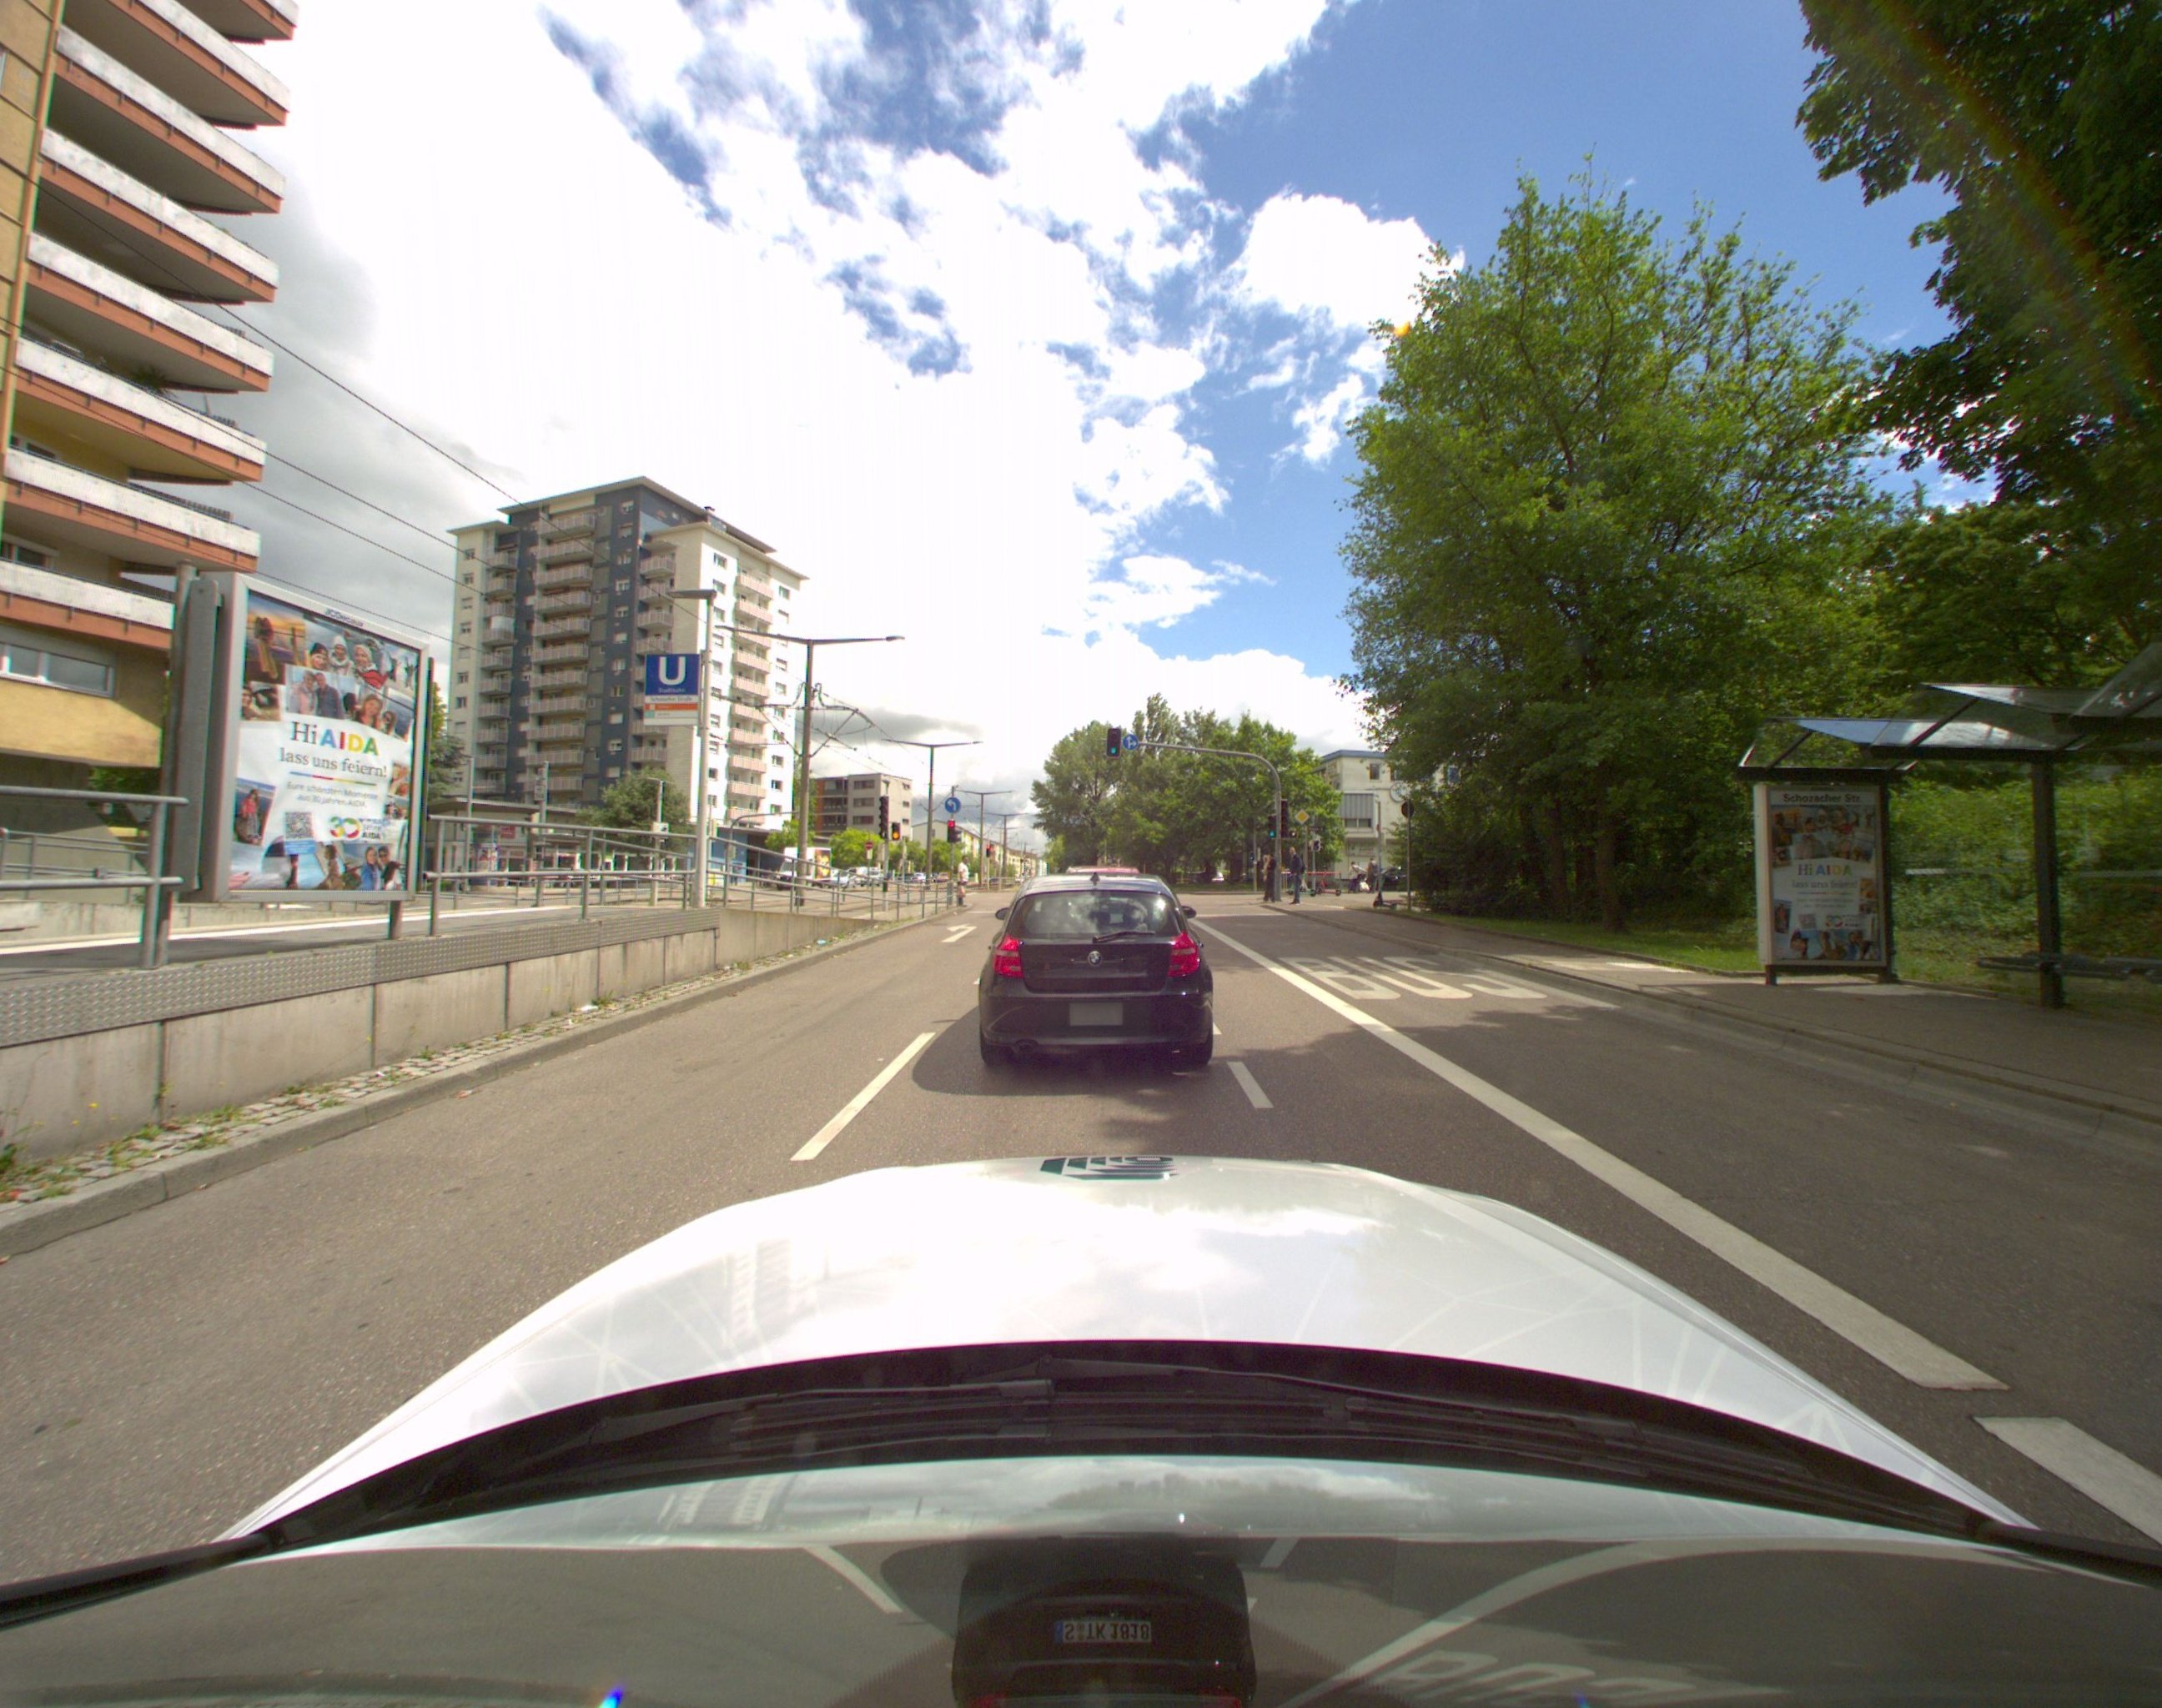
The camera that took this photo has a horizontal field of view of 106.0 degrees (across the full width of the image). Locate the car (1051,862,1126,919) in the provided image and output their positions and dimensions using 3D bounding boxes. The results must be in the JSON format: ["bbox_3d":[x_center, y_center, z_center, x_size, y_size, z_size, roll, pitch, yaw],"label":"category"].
[{"bbox_3d":[0.264,0.938,22.689,1.893,1.422,4.540,0,-1,2],"label":"car"}]

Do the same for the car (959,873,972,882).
[{"bbox_3d":[-20.016,4.004,141.388,1.646,1.534,3.871,0,-1,0],"label":"car"}]

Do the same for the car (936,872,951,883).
[{"bbox_3d":[-20.332,3.427,120.623,1.646,1.534,3.871,0,-1,0],"label":"car"}]

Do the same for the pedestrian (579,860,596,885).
[{"bbox_3d":[-39.577,1.468,65.299,0.851,2.014,0.852,-1,-1,29],"label":"pedestrian"}]

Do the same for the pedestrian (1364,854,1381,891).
[{"bbox_3d":[13.396,0.842,37.476,0.651,1.713,0.464,-1,-1,28],"label":"pedestrian"}]

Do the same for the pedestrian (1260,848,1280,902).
[{"bbox_3d":[6.605,0.719,28.532,0.632,1.876,0.519,0,-1,8],"label":"pedestrian"}]

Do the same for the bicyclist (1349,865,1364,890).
[{"bbox_3d":[12.610,1.065,37.274,0.502,1.157,0.398,0,-1,-15],"label":"bicyclist"}]

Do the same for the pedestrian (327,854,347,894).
[{"bbox_3d":[-37.698,1.028,41.264,0.540,2.014,0.558,0,-1,-18],"label":"pedestrian"}]

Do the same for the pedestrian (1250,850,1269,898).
[{"bbox_3d":[6.643,0.734,30.351,0.632,1.766,0.519,0,-1,8],"label":"pedestrian"}]

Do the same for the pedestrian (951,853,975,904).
[{"bbox_3d":[-4.032,0.836,27.869,0.685,1.734,0.688,-1,-1,1],"label":"pedestrian"}]

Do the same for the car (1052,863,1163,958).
[{"bbox_3d":[0.445,0.860,13.777,1.632,1.400,3.421,0,-1,2],"label":"car"}]

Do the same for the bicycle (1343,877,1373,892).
[{"bbox_3d":[12.634,1.389,37.164,0.533,0.610,1.583,2,-1,-14],"label":"bicycle"}]

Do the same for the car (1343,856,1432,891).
[{"bbox_3d":[18.028,1.133,48.049,4.529,2.014,1.996,0,-1,-6],"label":"car"}]

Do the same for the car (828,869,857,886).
[{"bbox_3d":[-20.640,2.035,70.652,1.402,1.461,3.773,0,-1,0],"label":"car"}]

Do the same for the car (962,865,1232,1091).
[{"bbox_3d":[0.153,0.804,6.838,1.694,1.400,3.421,0,-1,2],"label":"car"}]

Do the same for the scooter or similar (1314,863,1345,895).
[{"bbox_3d":[10.301,1.034,33.763,1.145,1.272,0.556,1,-1,4],"label":"scooter or similar"}]

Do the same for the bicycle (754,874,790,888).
[{"bbox_3d":[-23.899,2.115,63.005,2.570,1.009,0.749,2,-3,-27],"label":"bicycle"}]

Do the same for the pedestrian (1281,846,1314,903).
[{"bbox_3d":[7.271,0.679,27.408,1.003,1.876,0.800,0,-1,11],"label":"pedestrian"}]

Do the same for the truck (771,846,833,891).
[{"bbox_3d":[-20.462,1.054,60.240,2.275,3.118,7.312,0,-1,-2],"label":"truck"}]

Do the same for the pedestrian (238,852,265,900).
[{"bbox_3d":[-35.155,0.922,34.533,0.537,2.014,0.561,0,-1,-3],"label":"pedestrian"}]

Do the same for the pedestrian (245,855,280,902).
[{"bbox_3d":[-31.657,0.935,31.500,0.654,1.776,0.662,0,-1,-1],"label":"pedestrian"}]

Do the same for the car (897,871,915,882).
[{"bbox_3d":[-24.148,3.049,112.660,1.586,1.474,3.775,0,-1,1],"label":"car"}]

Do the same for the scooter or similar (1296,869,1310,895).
[{"bbox_3d":[9.480,1.184,34.797,0.543,1.064,1.267,0,-1,16],"label":"scooter or similar"}]

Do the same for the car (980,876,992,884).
[{"bbox_3d":[-18.636,5.080,160.101,1.643,1.534,3.877,0,-1,5],"label":"car"}]

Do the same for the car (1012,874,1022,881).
[{"bbox_3d":[-13.744,5.085,175.189,1.644,1.534,3.874,0,-1,3],"label":"car"}]

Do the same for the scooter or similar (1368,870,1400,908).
[{"bbox_3d":[10.593,1.228,28.509,0.886,1.230,0.455,4,-1,1],"label":"scooter or similar"}]

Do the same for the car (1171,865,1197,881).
[{"bbox_3d":[11.426,2.092,90.560,1.862,1.662,3.987,0,-1,-9],"label":"car"}]

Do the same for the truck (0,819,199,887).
[{"bbox_3d":[-34.575,-0.024,28.753,4.262,2.290,2.352,0,-1,2],"label":"truck"}]

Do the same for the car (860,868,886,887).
[{"bbox_3d":[-20.496,2.313,80.317,1.586,1.756,3.775,0,-1,1],"label":"car"}]

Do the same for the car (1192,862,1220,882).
[{"bbox_3d":[12.224,1.760,79.634,1.724,1.871,3.990,0,-1,-7],"label":"car"}]

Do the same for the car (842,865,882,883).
[{"bbox_3d":[-24.238,2.199,90.081,3.945,1.975,1.637,0,-1,-41],"label":"car"}]

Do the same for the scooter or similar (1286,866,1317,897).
[{"bbox_3d":[8.892,1.108,32.865,1.105,1.235,0.540,0,-1,4],"label":"scooter or similar"}]

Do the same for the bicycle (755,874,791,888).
[{"bbox_3d":[-24.154,2.132,63.971,2.570,1.009,0.749,2,-3,-27],"label":"bicycle"}]
